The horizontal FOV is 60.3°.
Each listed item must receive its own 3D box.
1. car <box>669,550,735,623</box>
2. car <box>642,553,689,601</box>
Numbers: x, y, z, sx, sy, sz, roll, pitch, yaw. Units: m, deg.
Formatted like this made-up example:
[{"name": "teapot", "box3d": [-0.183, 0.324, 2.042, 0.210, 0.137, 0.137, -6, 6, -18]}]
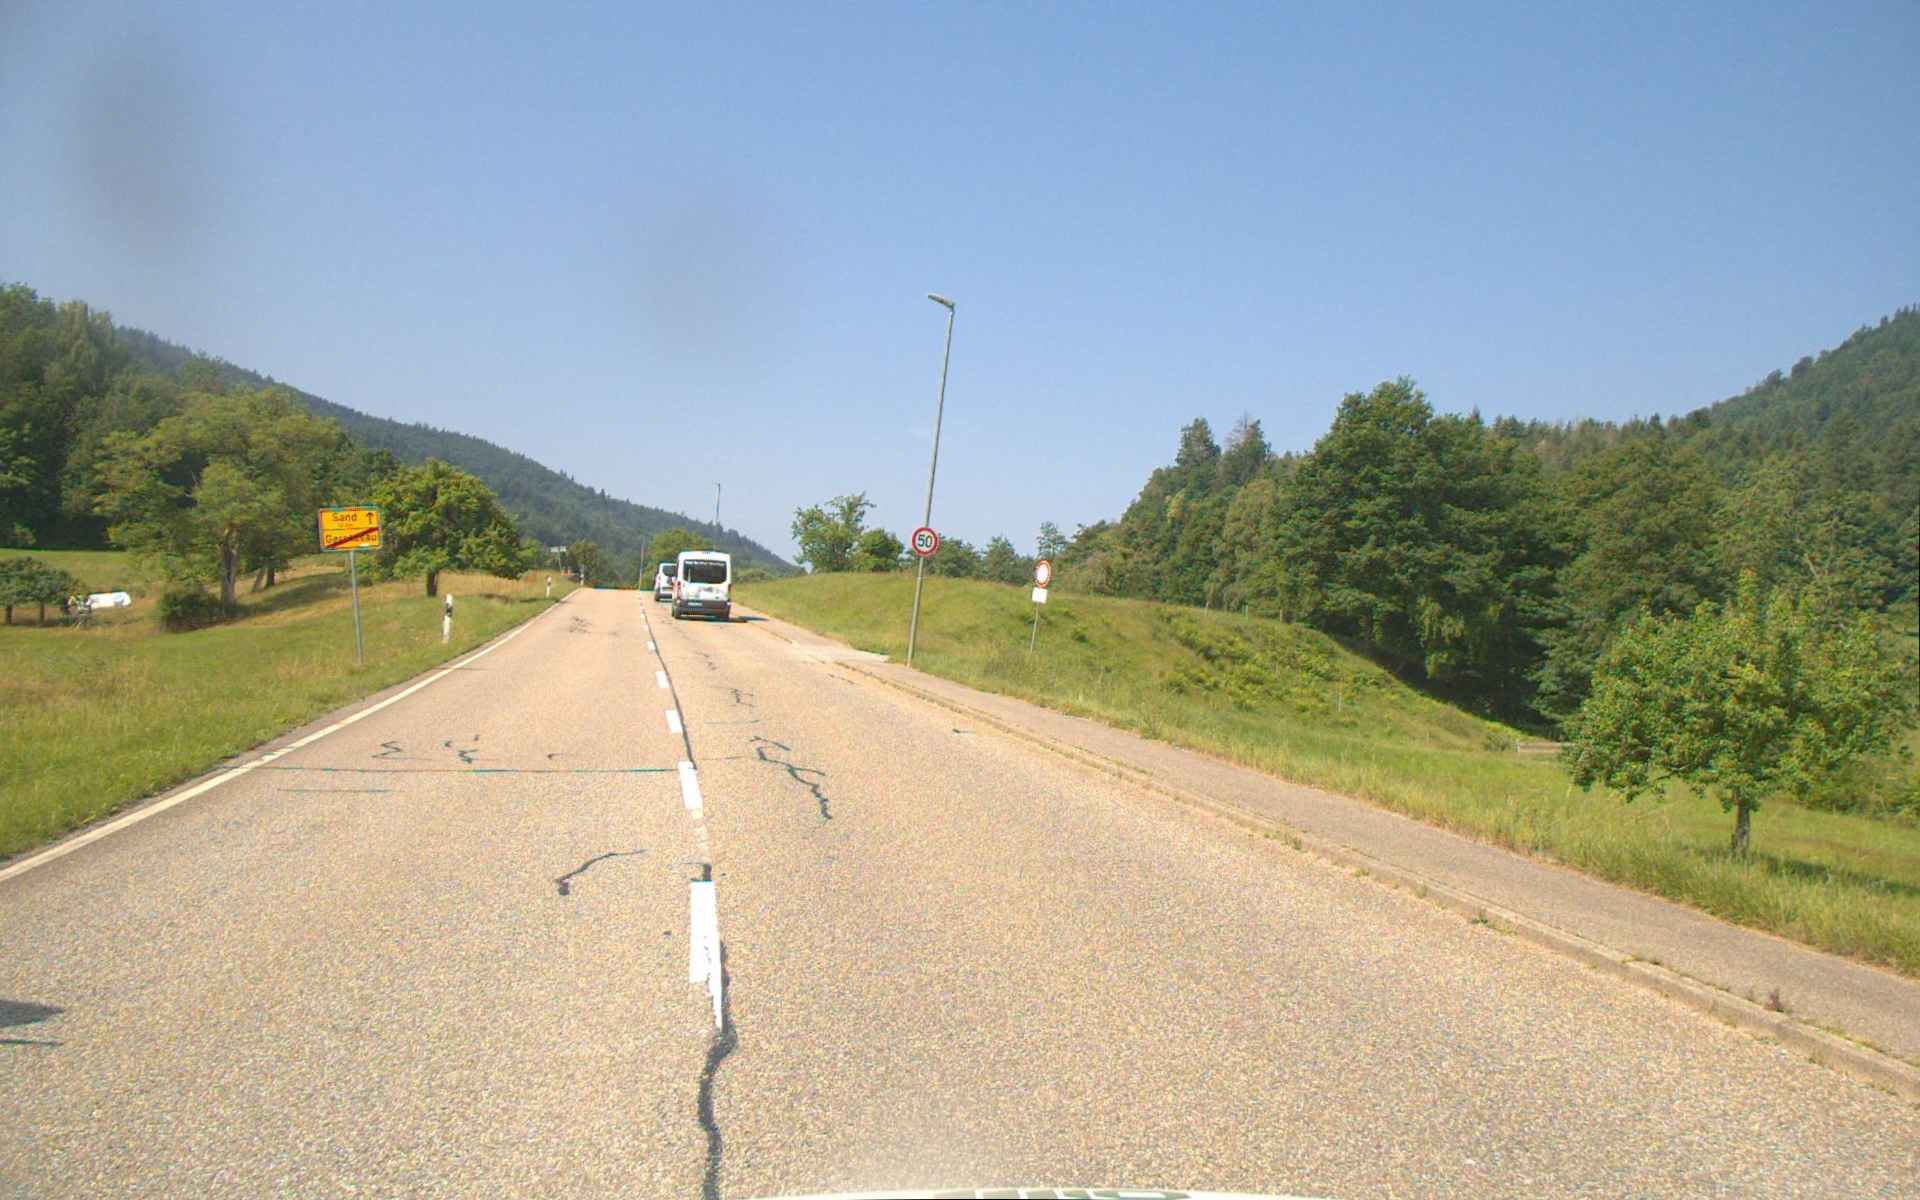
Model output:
[{"name": "car", "box3d": [-9.632, -0.435, 61.533, 2.183, 2.570, 4.969, 0, -1, -12]}, {"name": "car", "box3d": [-15.681, -1.178, 87.824, 2.184, 2.327, 4.967, 0, -1, -13]}]
